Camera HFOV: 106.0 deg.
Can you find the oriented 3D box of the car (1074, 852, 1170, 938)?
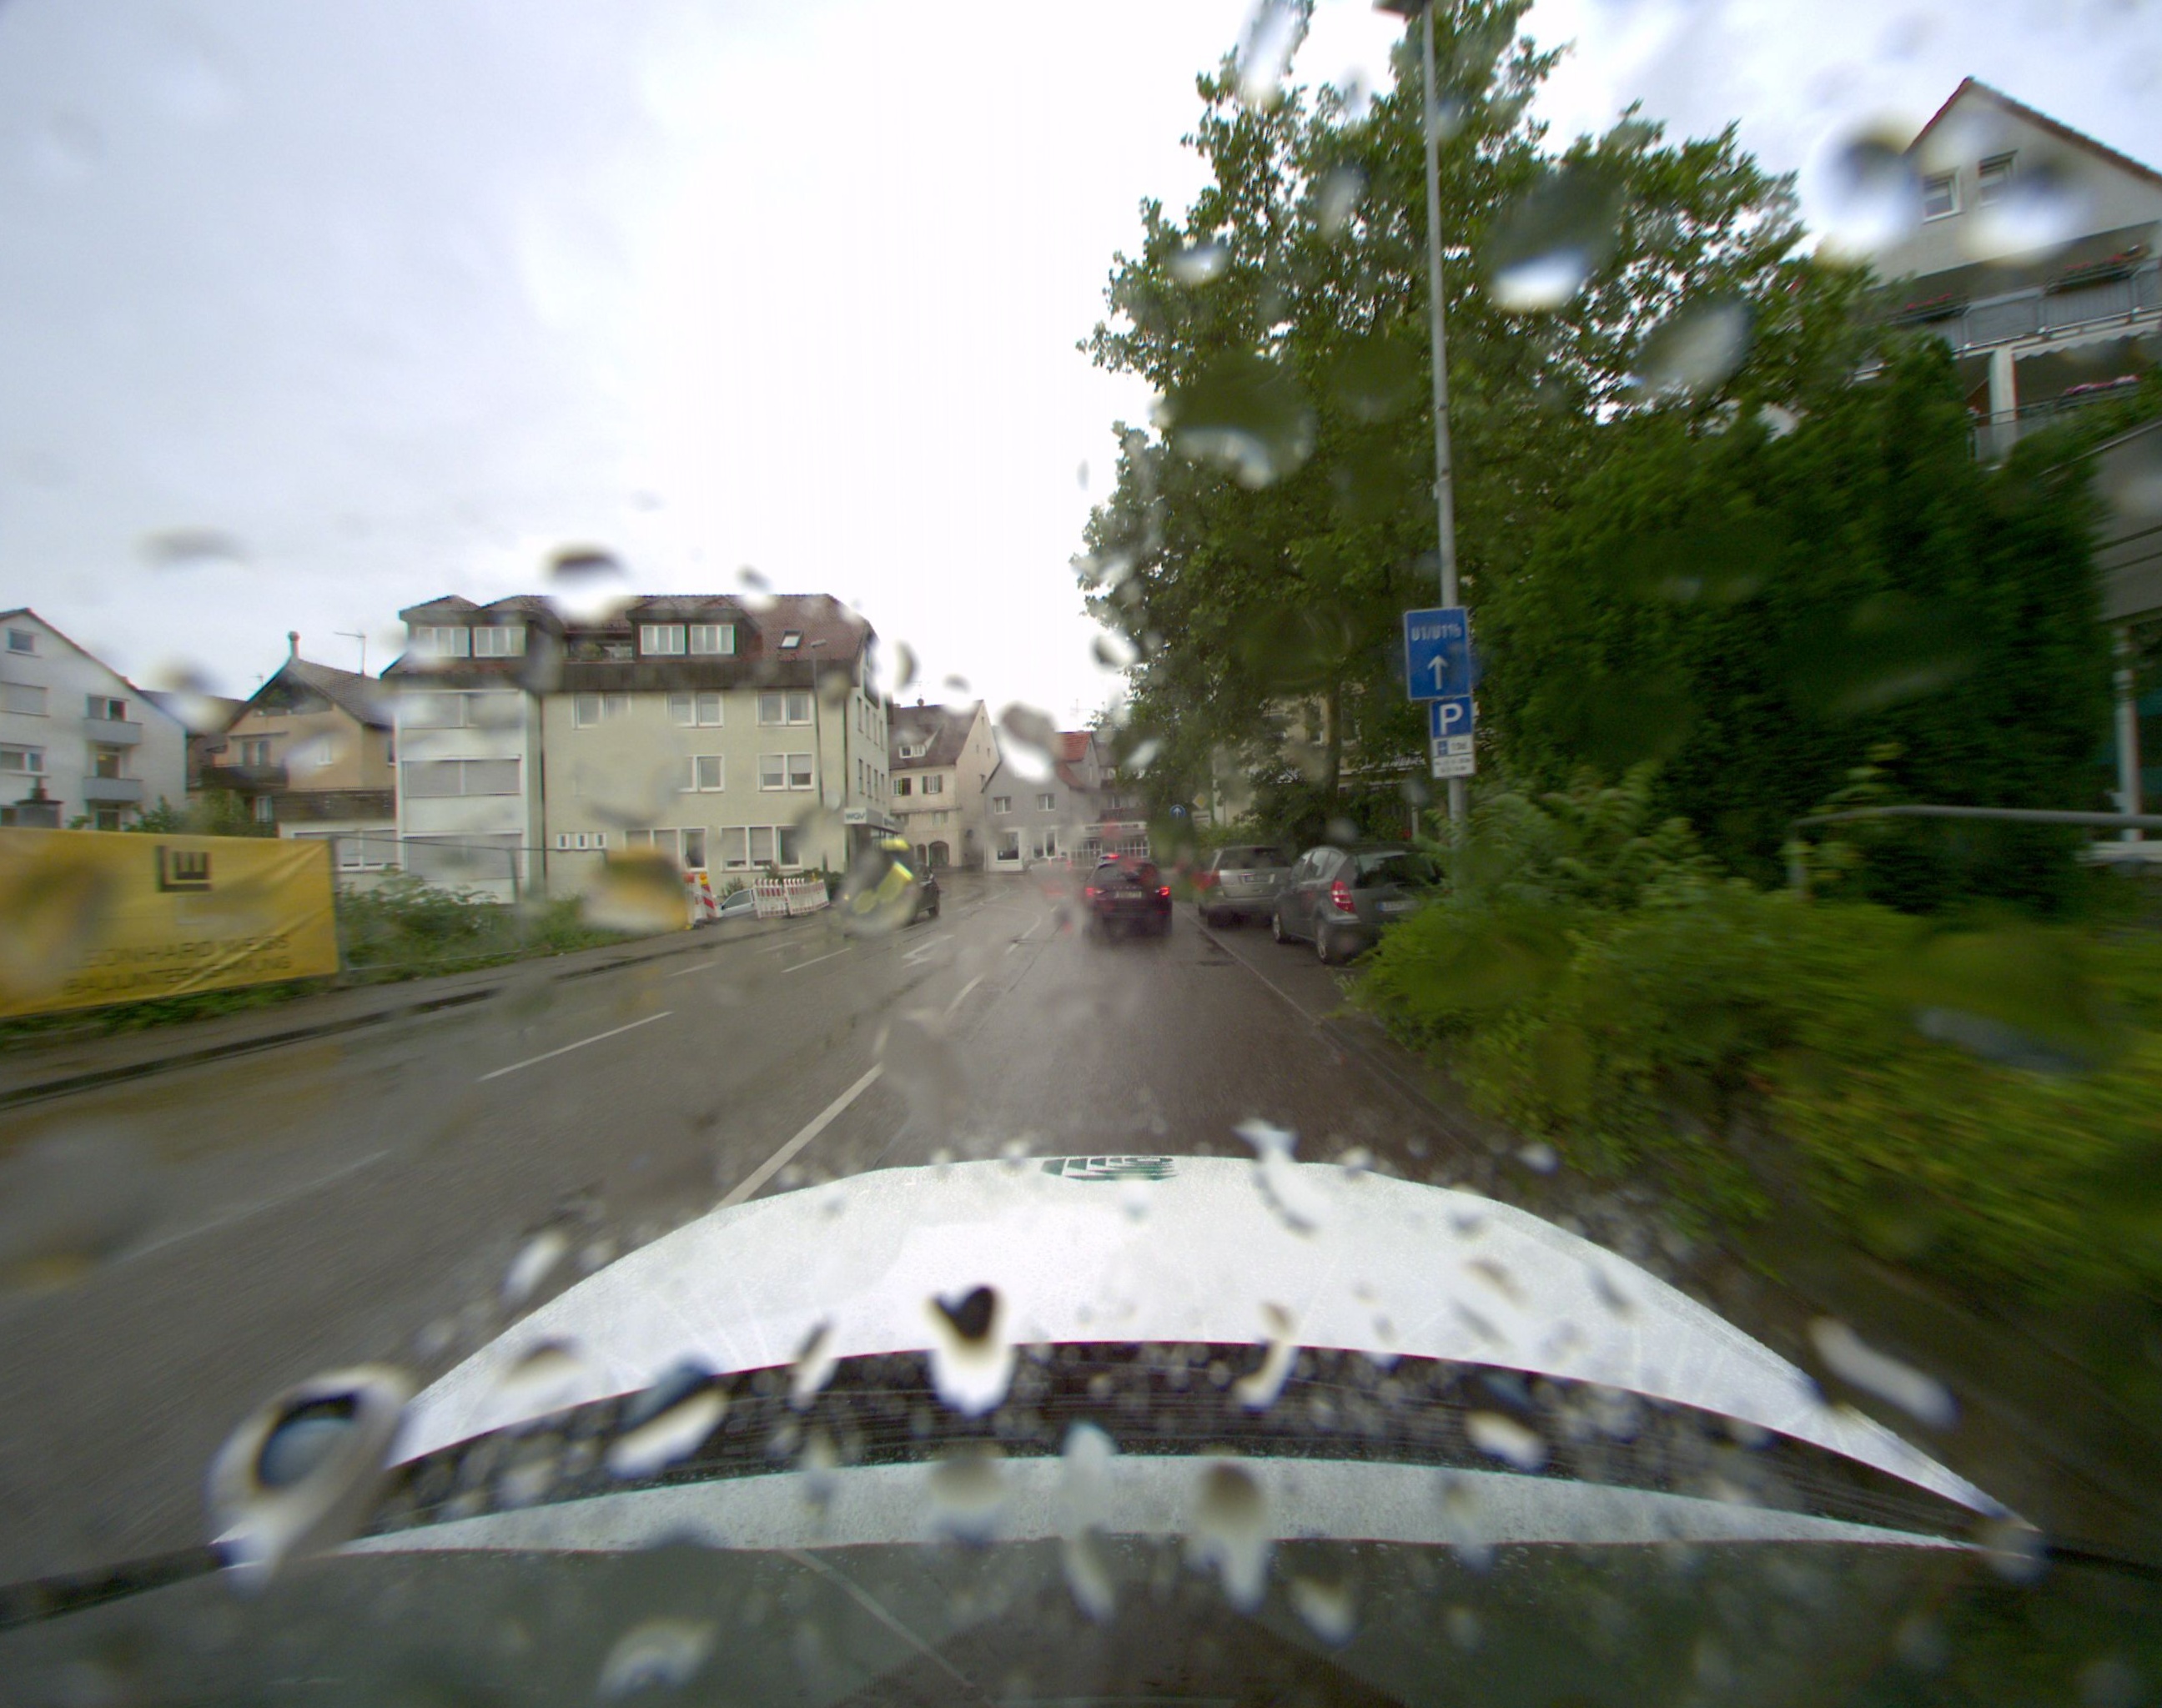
[{"bbox_3d":[0.749,0.759,17.239,1.727,1.450,4.240,-2,1,-1],"label":"car"}]

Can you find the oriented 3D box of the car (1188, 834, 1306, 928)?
[{"bbox_3d":[3.620,0.521,18.589,1.922,1.780,4.738,-3,0,3],"label":"car"}]

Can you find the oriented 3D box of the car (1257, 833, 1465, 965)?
[{"bbox_3d":[3.950,0.563,12.227,1.704,1.572,3.914,-3,0,0],"label":"car"}]

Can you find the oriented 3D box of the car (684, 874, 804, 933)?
[{"bbox_3d":[-12.097,1.755,29.397,3.497,1.389,1.647,-10,3,-8],"label":"car"}]

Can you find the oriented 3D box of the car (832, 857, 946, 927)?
[{"bbox_3d":[-4.959,0.916,21.656,1.809,1.571,4.277,-3,0,2],"label":"car"}]

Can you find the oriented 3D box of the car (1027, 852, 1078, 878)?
[{"bbox_3d":[-1.859,0.670,51.858,1.793,1.465,4.132,-2,2,-23],"label":"car"}]

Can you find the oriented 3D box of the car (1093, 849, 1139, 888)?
[{"bbox_3d":[1.672,0.614,37.439,1.780,1.517,4.248,-3,1,5],"label":"car"}]
